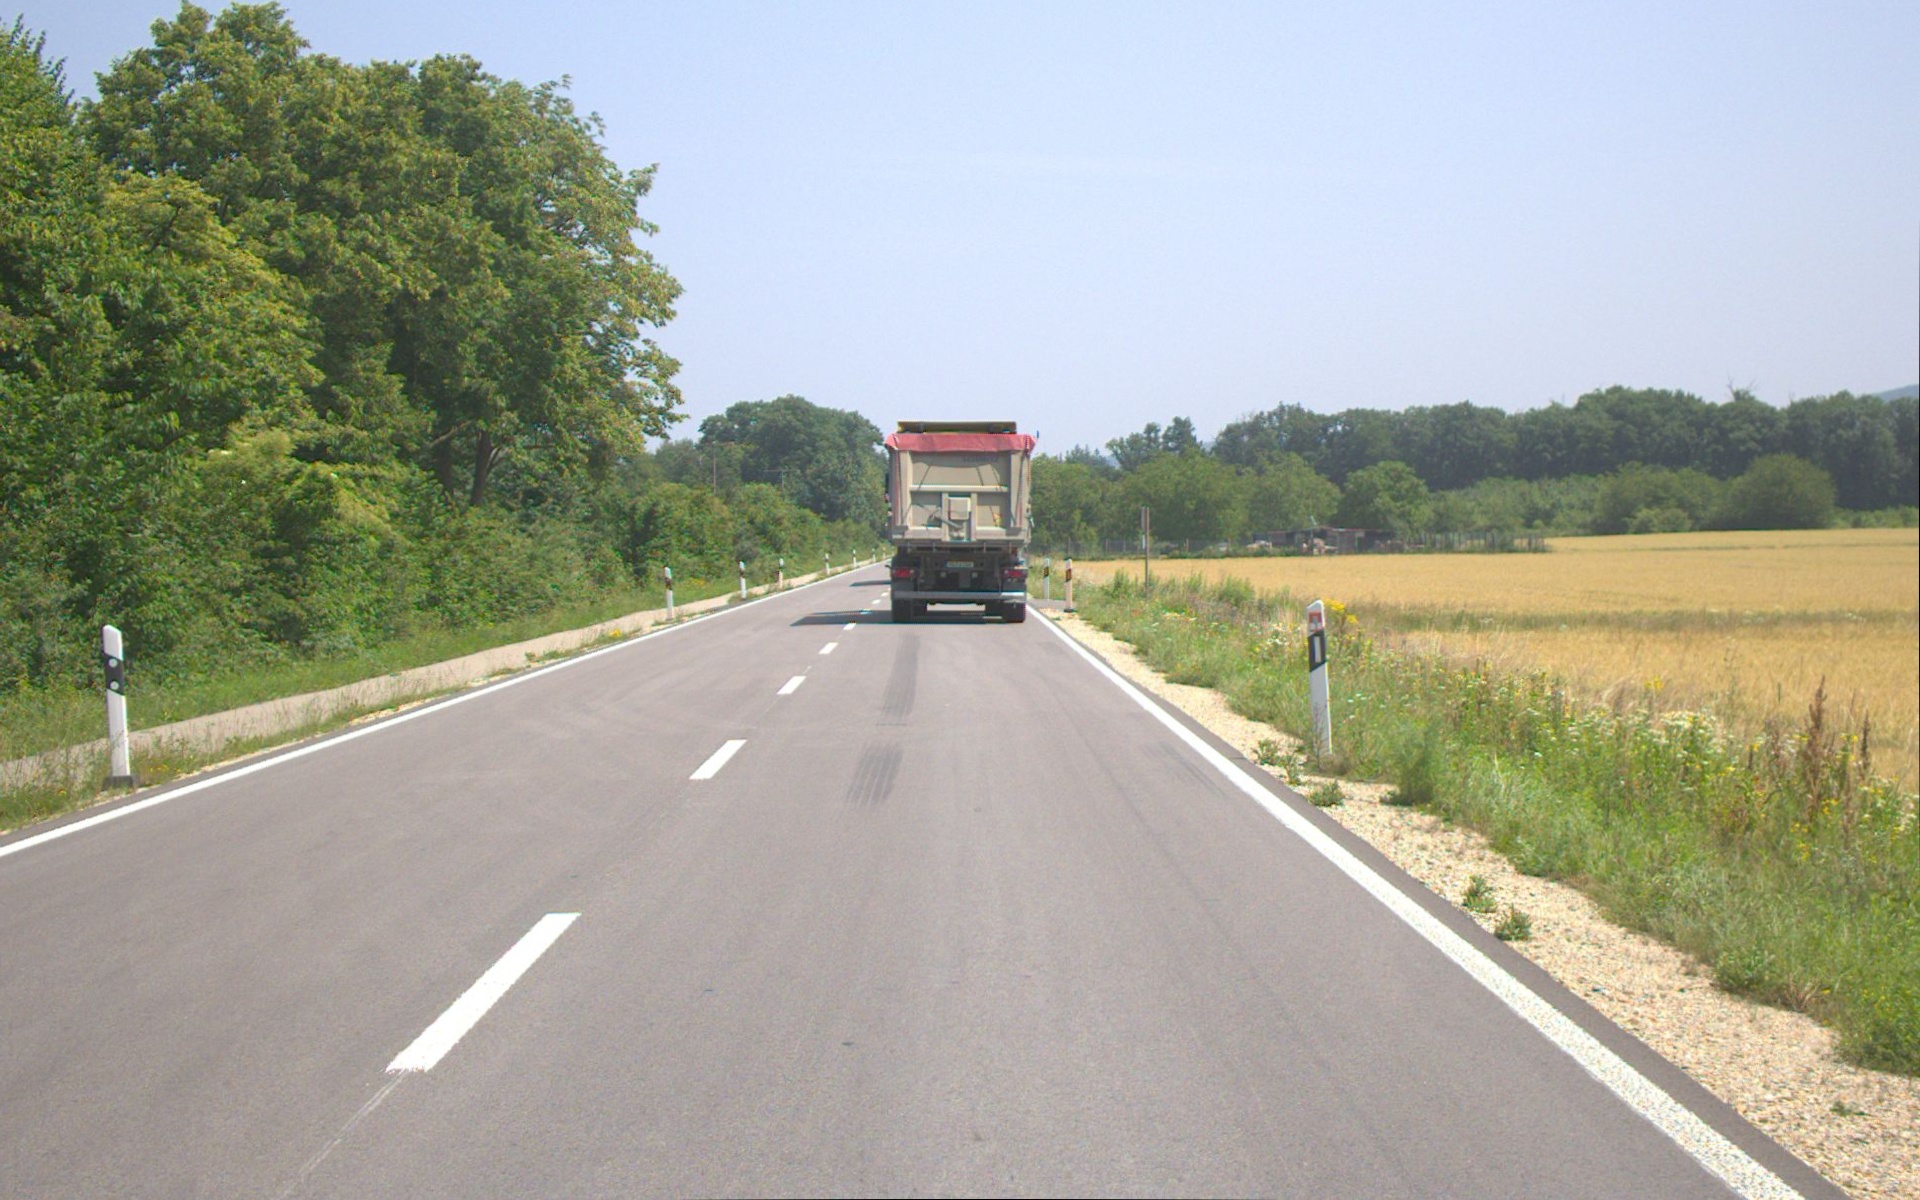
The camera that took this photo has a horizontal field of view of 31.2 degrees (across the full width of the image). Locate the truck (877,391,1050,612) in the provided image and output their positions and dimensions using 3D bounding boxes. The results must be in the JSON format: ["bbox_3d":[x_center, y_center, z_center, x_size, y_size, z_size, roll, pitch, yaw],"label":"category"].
[{"bbox_3d":[0.042,-1.816,66.986,3.009,3.861,12.209,1,1,0],"label":"truck"}]
